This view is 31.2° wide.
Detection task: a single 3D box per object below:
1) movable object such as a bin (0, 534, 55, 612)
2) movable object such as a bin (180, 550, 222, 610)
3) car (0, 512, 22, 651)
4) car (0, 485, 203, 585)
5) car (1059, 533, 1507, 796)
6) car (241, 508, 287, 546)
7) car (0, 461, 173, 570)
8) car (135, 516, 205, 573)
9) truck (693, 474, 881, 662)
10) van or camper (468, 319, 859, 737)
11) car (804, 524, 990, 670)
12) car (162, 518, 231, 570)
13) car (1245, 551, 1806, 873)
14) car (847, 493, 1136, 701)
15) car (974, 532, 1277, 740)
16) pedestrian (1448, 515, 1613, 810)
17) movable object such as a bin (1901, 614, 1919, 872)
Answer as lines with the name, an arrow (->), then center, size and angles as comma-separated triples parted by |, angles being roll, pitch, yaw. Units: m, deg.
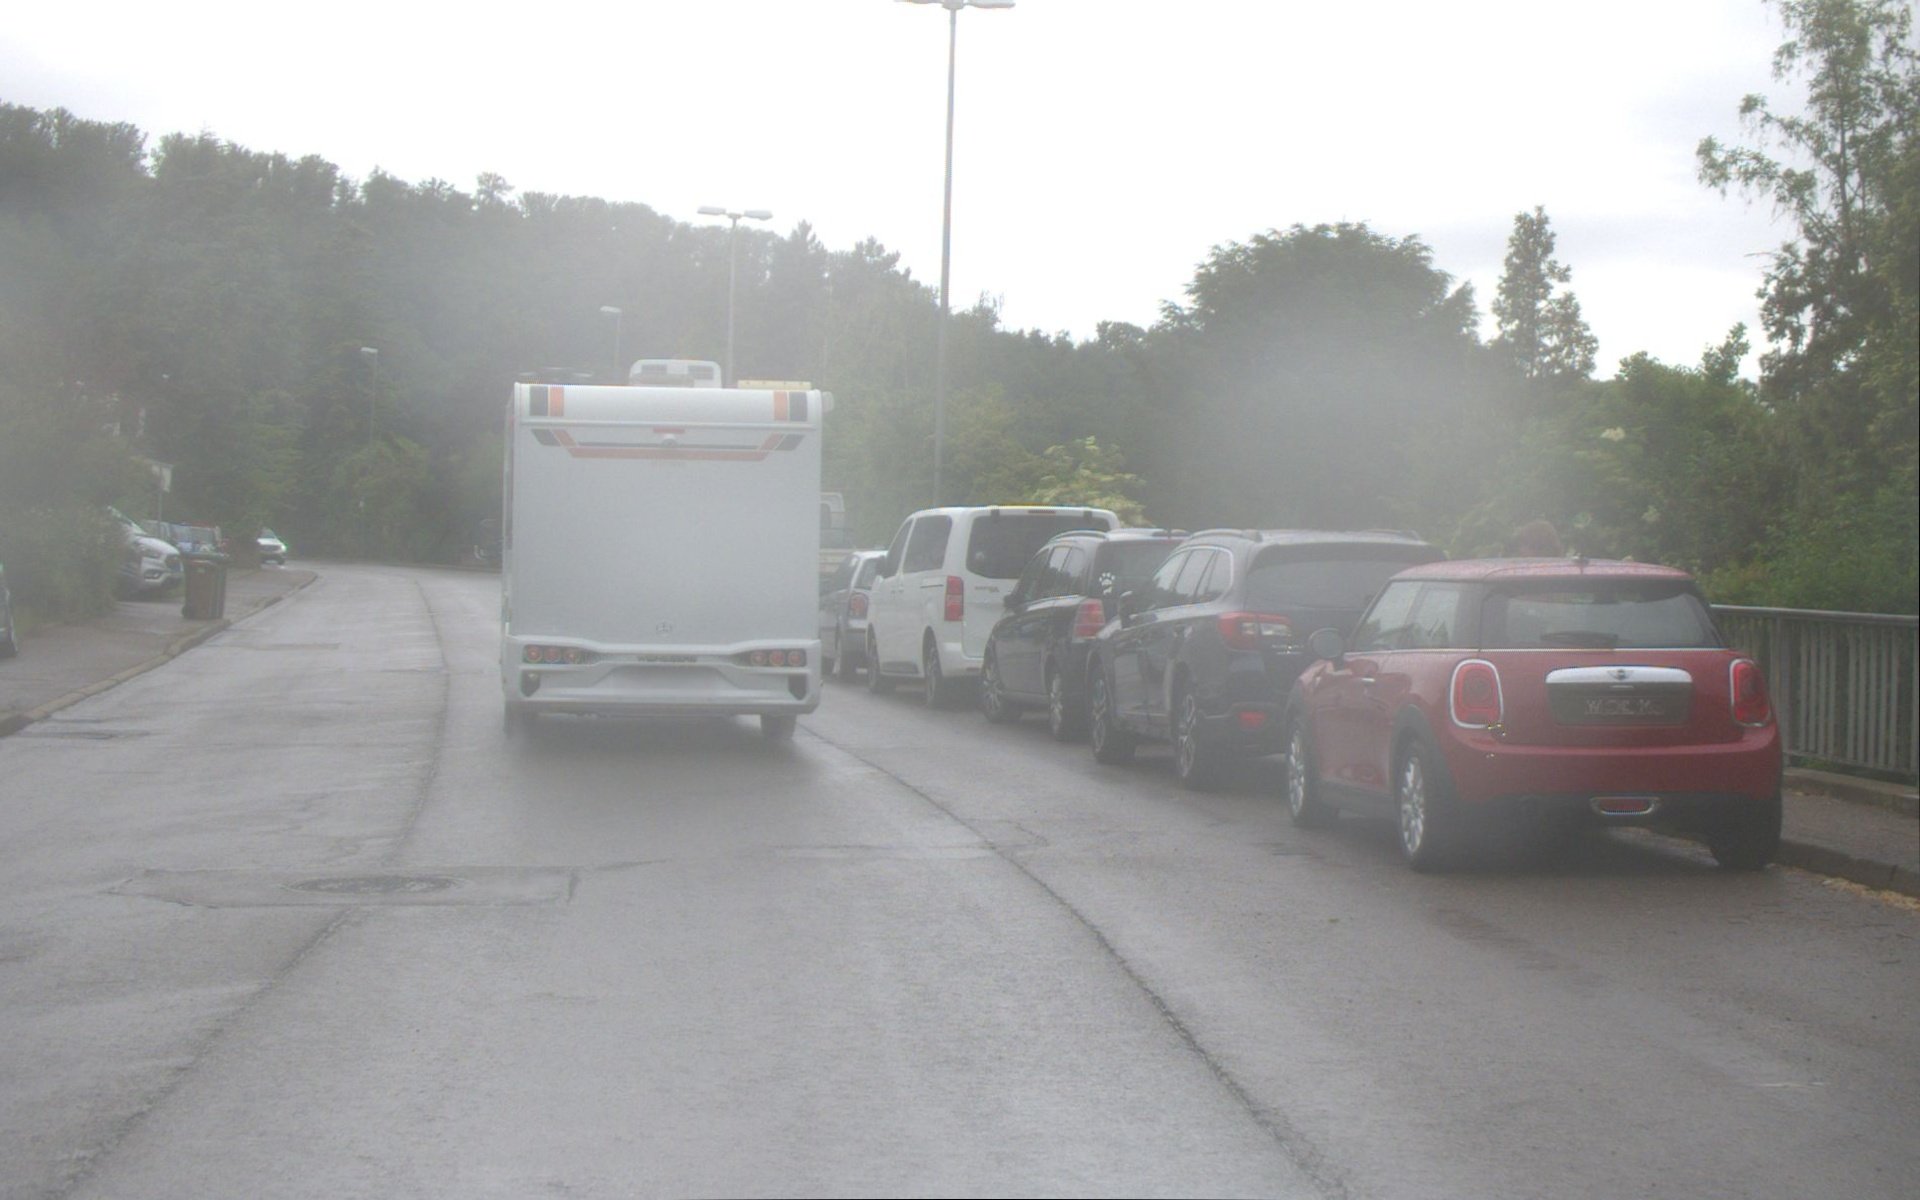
movable object such as a bin -> -13.240, -0.380, 48.447 | 0.698, 1.079, 0.709 | 1, 1, 10
movable object such as a bin -> -12.088, -0.320, 54.741 | 0.602, 0.925, 0.564 | 2, 1, -13
car -> -11.825, -0.218, 39.006 | 1.802, 1.591, 4.419 | 0, 1, -9
car -> -18.013, -1.301, 68.950 | 5.086, 1.938, 2.141 | 1, 1, 8
car -> 1.934, 0.348, 22.115 | 1.815, 1.501, 4.725 | 0, 1, -8
car -> -30.810, -3.231, 152.335 | 1.905, 1.602, 4.430 | 2, 1, -11
car -> -16.491, -1.574, 61.815 | 4.055, 1.686, 1.893 | 5, 0, 5
car -> -22.370, -1.583, 97.464 | 1.607, 1.429, 3.960 | 5, 1, -10
truck -> -2.688, -0.482, 51.678 | 2.238, 2.622, 6.540 | 0, 1, -8
van or camper -> -2.515, -0.472, 27.307 | 2.615, 2.843, 6.032 | 3, -1, -8
car -> -0.765, -0.050, 39.043 | 1.647, 1.558, 3.964 | 0, 1, -8
car -> -22.980, -1.695, 103.534 | 1.632, 1.391, 4.240 | 5, 0, -9
car -> 2.658, 0.477, 17.062 | 1.735, 1.409, 3.853 | 1, 1, -7
car -> 0.214, -0.049, 33.620 | 1.848, 1.875, 4.912 | 0, 1, -11
car -> 1.246, 0.247, 27.760 | 1.644, 1.535, 4.355 | 0, 1, -8
pedestrian -> 3.218, 0.341, 19.429 | 0.716, 1.629, 0.707 | 1, 1, -7
movable object such as a bin -> 4.451, 0.620, 14.414 | 0.713, 1.090, 0.849 | 1, 1, -4
